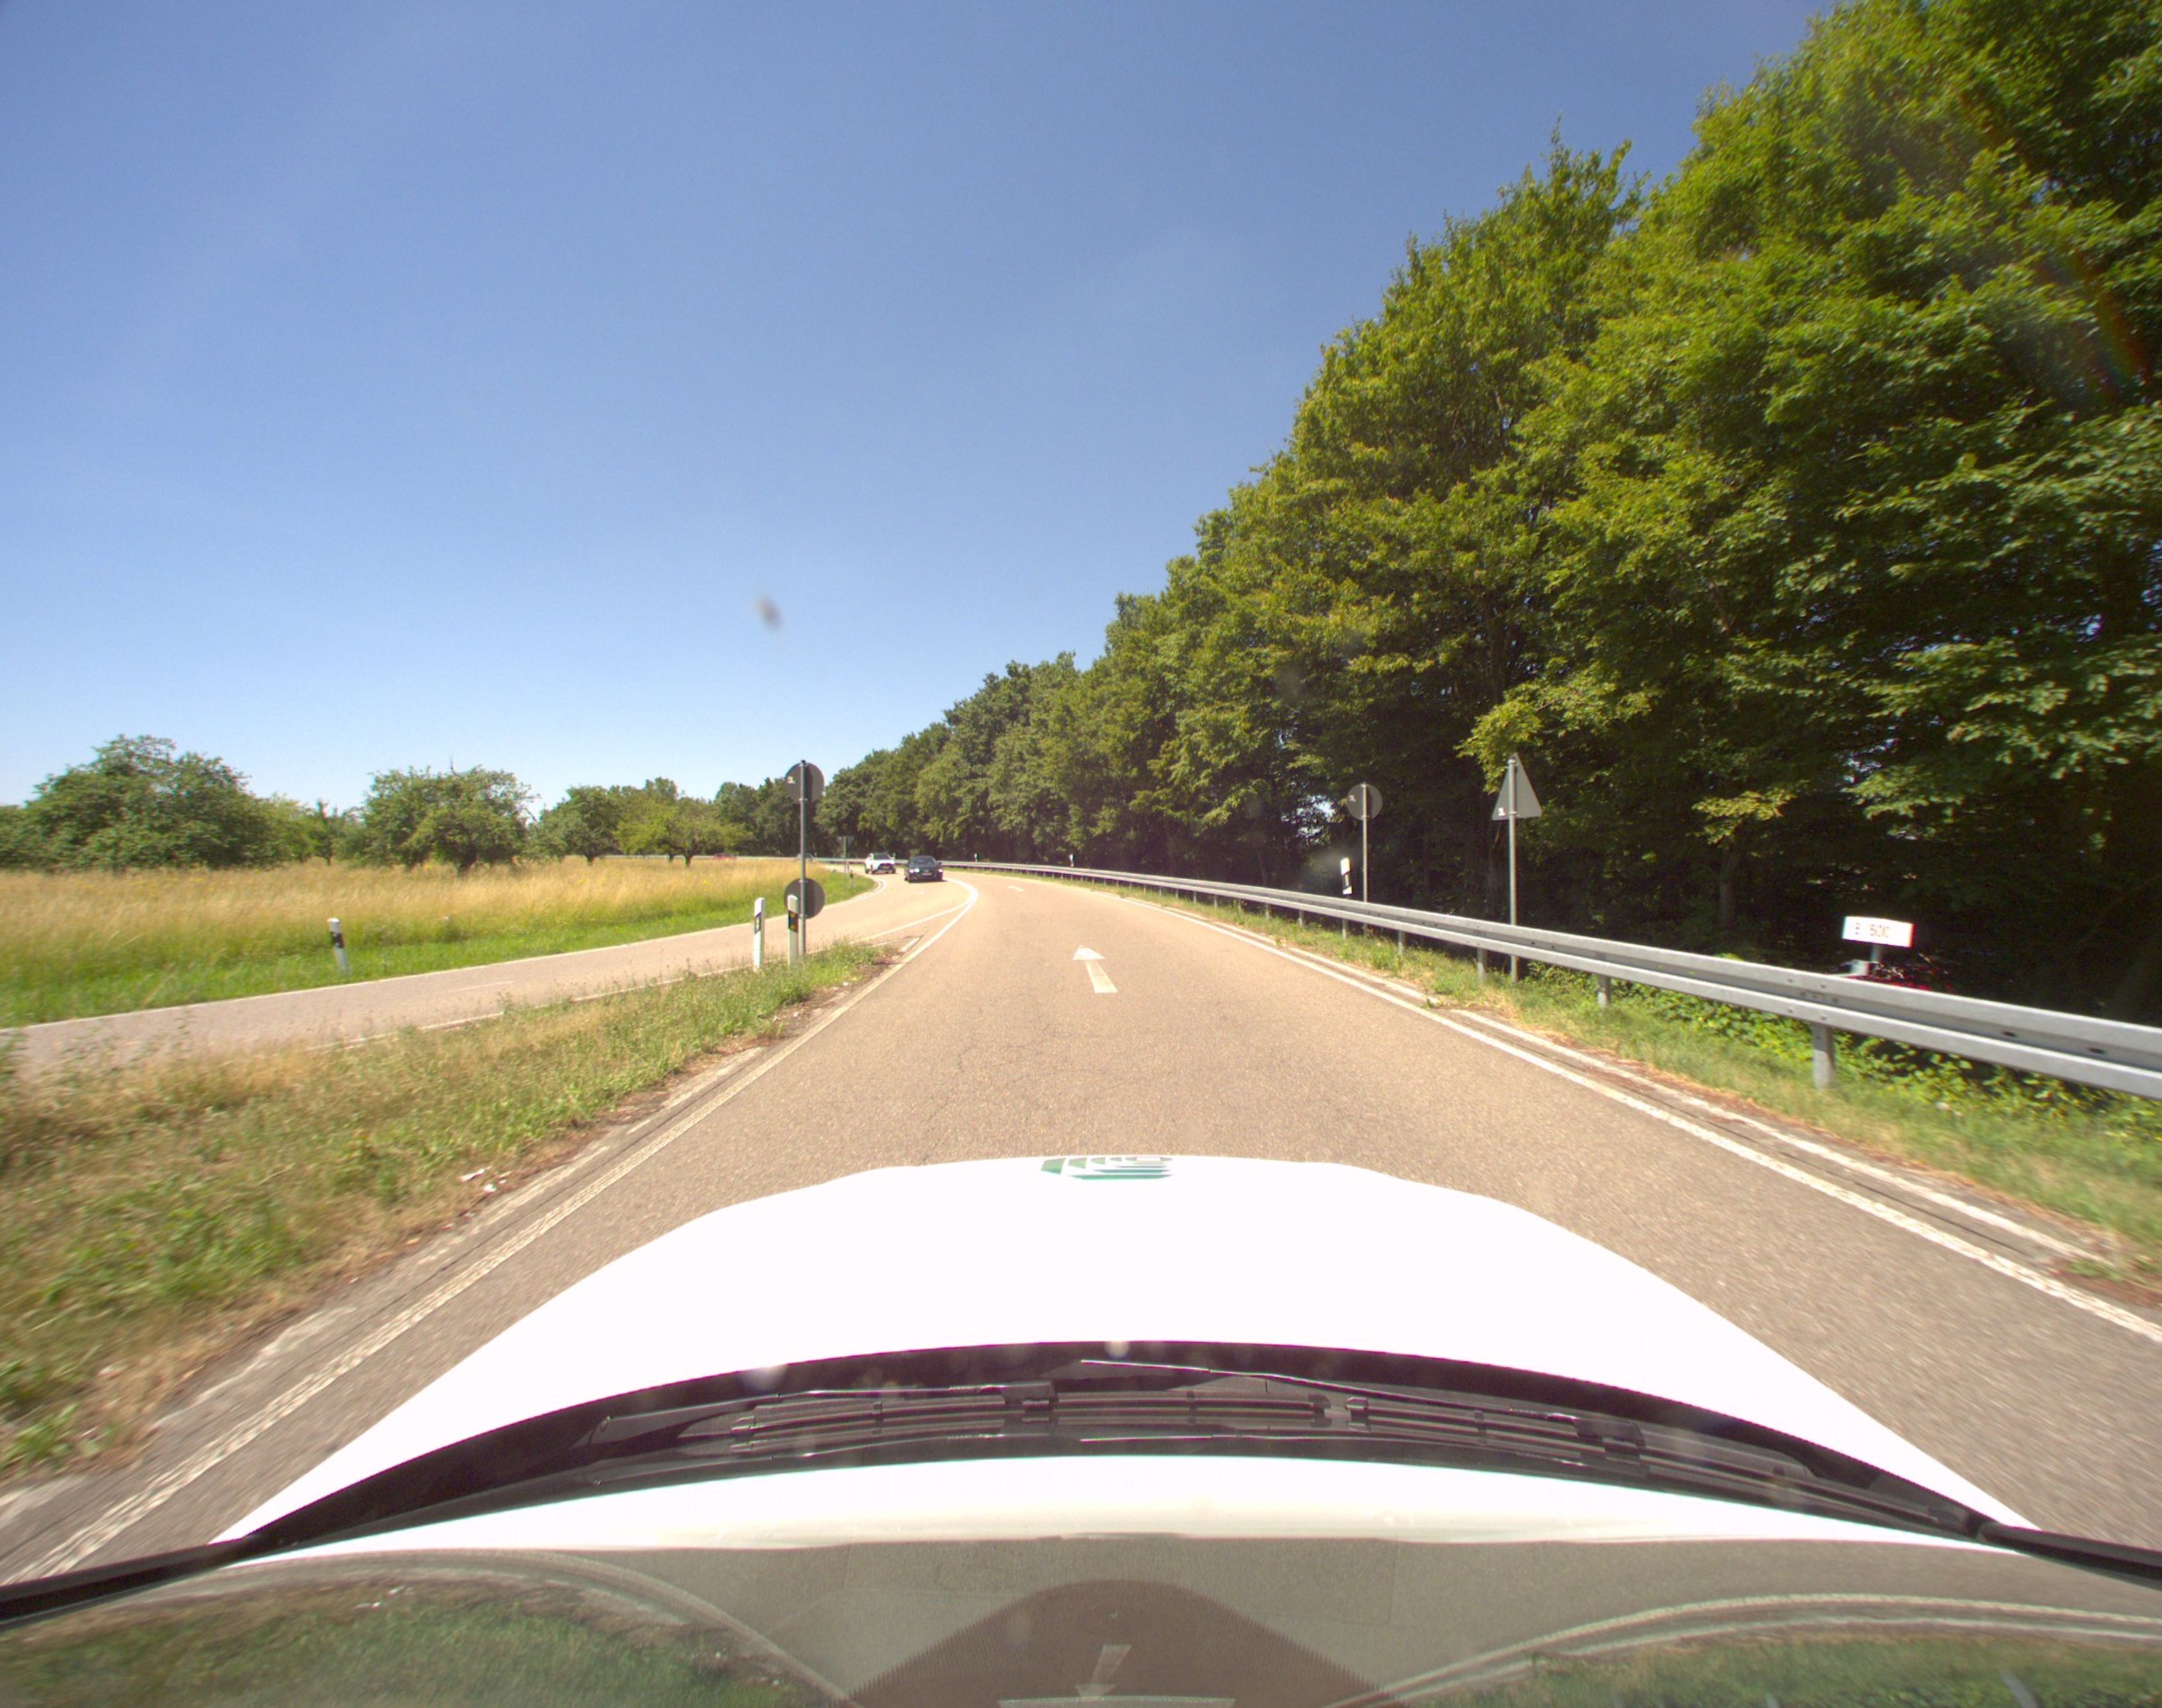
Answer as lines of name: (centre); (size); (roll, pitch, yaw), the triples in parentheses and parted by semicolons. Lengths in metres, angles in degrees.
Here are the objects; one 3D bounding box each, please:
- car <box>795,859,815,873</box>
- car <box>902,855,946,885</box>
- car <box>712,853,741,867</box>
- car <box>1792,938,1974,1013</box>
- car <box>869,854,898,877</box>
car: (-29.337, 1.281, 86.575); (1.742, 1.507, 4.041); (0, -1, -23)
car: (-8.958, 0.912, 46.226); (1.808, 1.506, 4.628); (-3, 0, -19)
car: (-46.161, 0.810, 105.935); (4.344, 1.458, 1.839); (-4, 0, 44)
car: (26.904, 4.013, 27.509); (3.951, 2.014, 2.011); (0, 0, 24)
car: (-15.312, 0.897, 62.941); (1.827, 1.590, 4.191); (-4, 0, -18)
